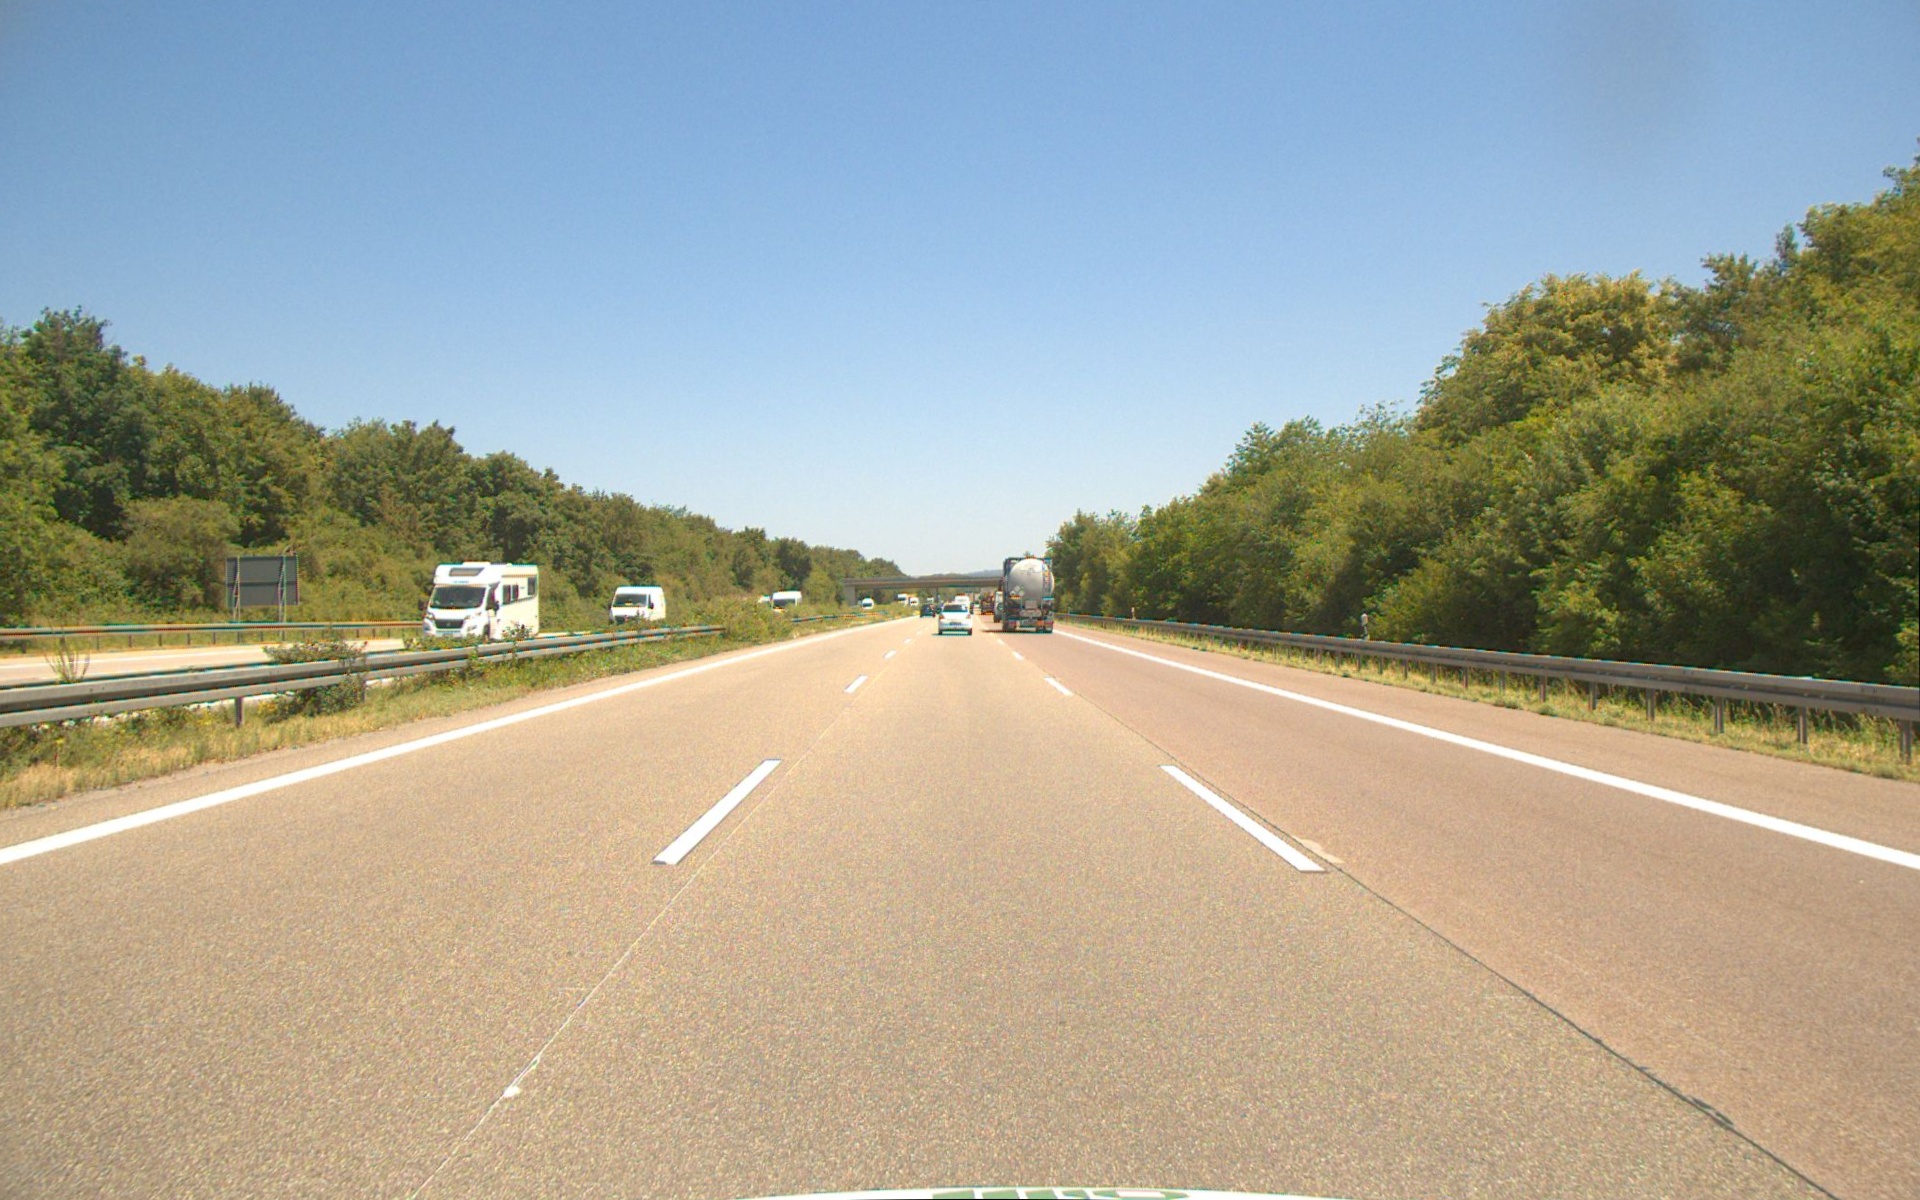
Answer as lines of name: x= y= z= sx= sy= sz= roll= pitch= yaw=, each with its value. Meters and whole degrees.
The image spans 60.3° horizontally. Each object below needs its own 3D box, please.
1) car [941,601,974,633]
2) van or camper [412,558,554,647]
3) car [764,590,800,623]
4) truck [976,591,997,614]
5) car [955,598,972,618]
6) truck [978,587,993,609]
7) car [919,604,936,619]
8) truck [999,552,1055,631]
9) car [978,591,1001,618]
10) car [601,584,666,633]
car: x=-0.142 y=0.827 z=81.489 sx=1.594 sy=1.505 sz=3.999 roll=0 pitch=0 yaw=-1
van or camper: x=-16.424 y=0.084 z=57.527 sx=2.461 sy=2.899 sz=8.027 roll=0 pitch=0 yaw=1
car: x=-13.209 y=0.478 z=123.294 sx=1.952 sy=2.442 sz=6.165 roll=0 pitch=0 yaw=0
truck: x=3.930 y=0.388 z=245.919 sx=2.855 sy=3.297 sz=6.343 roll=1 pitch=-1 yaw=0
car: x=0.463 y=0.962 z=201.789 sx=1.952 sy=2.384 sz=4.387 roll=0 pitch=0 yaw=1
truck: x=3.911 y=-0.270 z=255.168 sx=2.243 sy=3.297 sz=6.343 roll=1 pitch=-1 yaw=0
car: x=-3.856 y=1.320 z=198.072 sx=1.953 sy=1.756 sz=4.786 roll=0 pitch=0 yaw=0
truck: x=3.667 y=-0.439 z=92.584 sx=2.683 sy=4.123 sz=10.453 roll=0 pitch=0 yaw=0
car: x=2.561 y=0.376 z=144.163 sx=1.953 sy=2.264 sz=4.786 roll=0 pitch=0 yaw=0
car: x=-17.267 y=0.415 z=87.793 sx=2.169 sy=2.484 sz=6.419 roll=0 pitch=0 yaw=0
